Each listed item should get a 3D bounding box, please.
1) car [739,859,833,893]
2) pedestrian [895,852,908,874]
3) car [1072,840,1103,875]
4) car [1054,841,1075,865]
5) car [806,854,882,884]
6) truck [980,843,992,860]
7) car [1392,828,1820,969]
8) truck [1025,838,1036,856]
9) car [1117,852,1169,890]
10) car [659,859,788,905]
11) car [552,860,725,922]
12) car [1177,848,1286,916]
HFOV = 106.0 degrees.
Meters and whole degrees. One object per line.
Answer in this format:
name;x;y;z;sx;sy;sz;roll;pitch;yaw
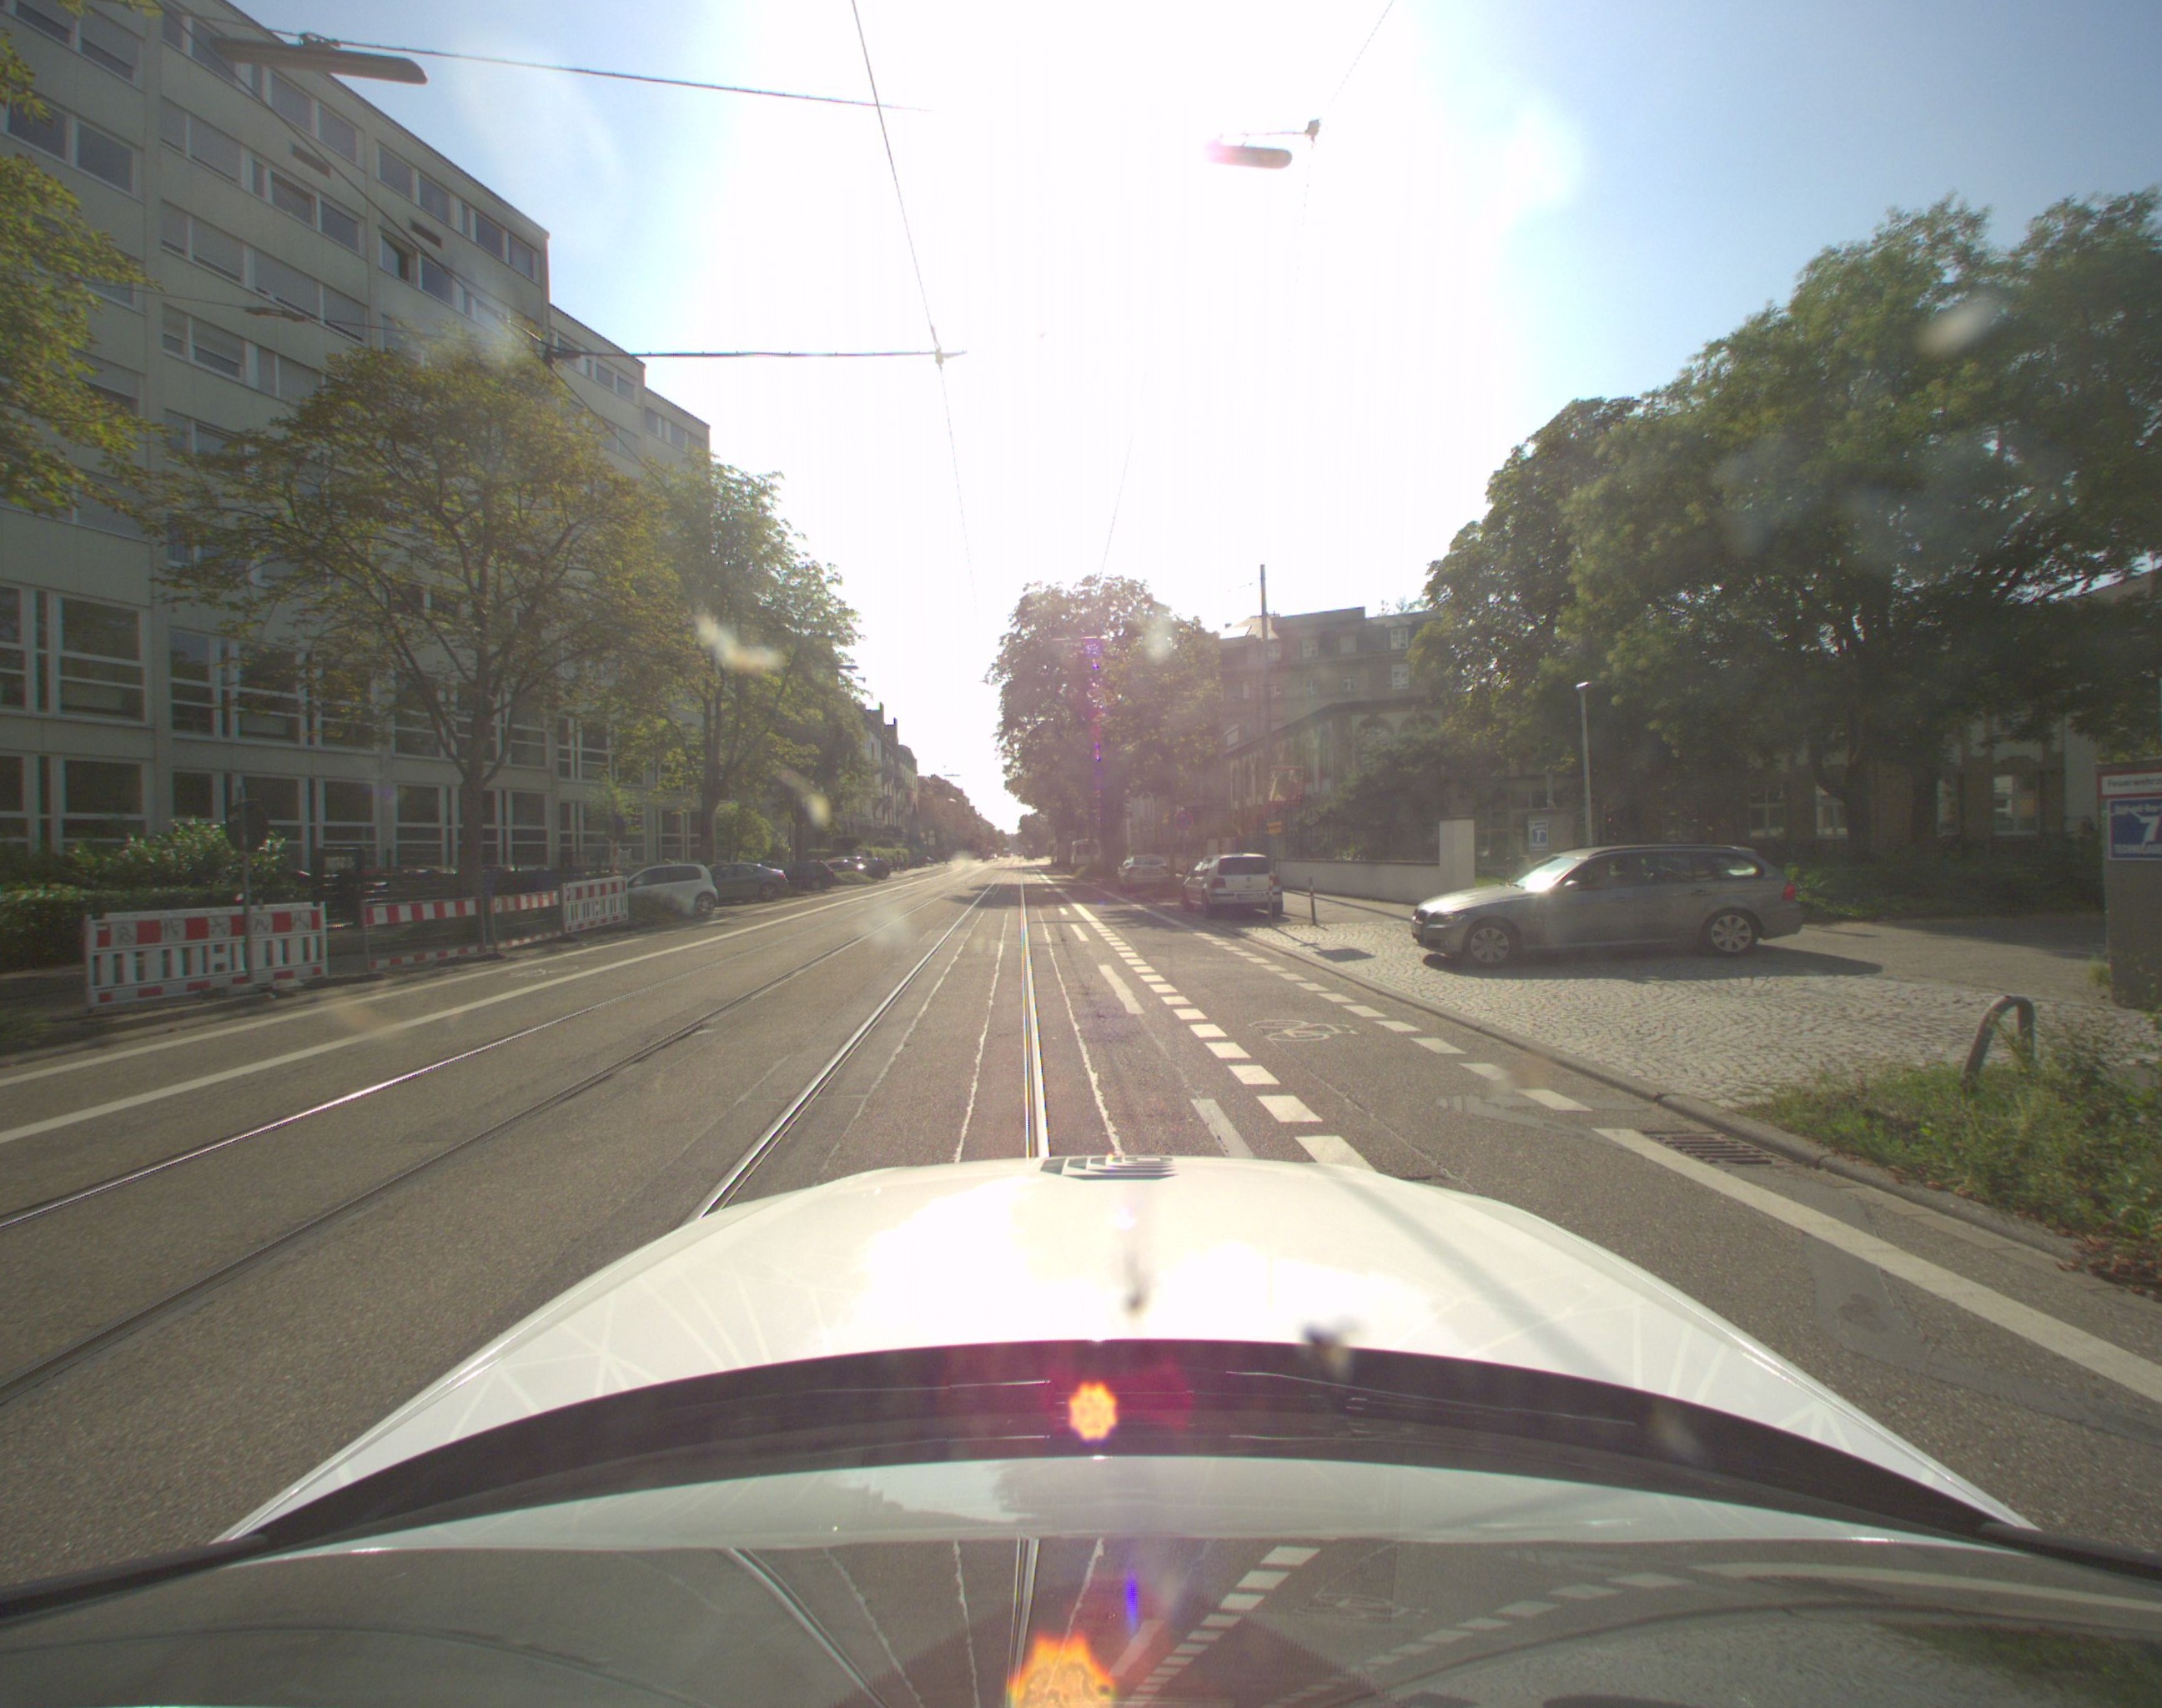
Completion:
car;-13.444;0.951;37.247;1.550;1.406;3.787;-1;0;40
pedestrian;-14.662;0.725;66.473;0.960;1.760;0.660;-1;0;-6
car;0.429;0.213;60.778;2.000;2.490;4.471;-1;0;-3
car;-1.803;-0.116;87.629;2.000;2.475;4.471;-1;0;-3
car;-13.917;0.859;47.832;4.013;1.640;1.674;-1;0;-32
truck;-17.181;-0.386;148.044;1.990;2.975;4.563;-1;0;-5
car;6.700;0.571;10.891;4.395;1.410;1.810;-5;-1;8
truck;-9.224;-1.292;148.705;1.858;3.130;4.343;-1;0;-6
car;2.456;0.628;32.748;1.591;1.418;3.630;-1;0;-3
car;-12.323;0.920;28.226;1.550;1.443;3.787;-1;0;40
car;-11.832;0.935;21.998;1.550;1.443;3.787;-1;0;35
car;3.426;0.587;19.156;1.686;1.418;3.630;-1;0;-3
